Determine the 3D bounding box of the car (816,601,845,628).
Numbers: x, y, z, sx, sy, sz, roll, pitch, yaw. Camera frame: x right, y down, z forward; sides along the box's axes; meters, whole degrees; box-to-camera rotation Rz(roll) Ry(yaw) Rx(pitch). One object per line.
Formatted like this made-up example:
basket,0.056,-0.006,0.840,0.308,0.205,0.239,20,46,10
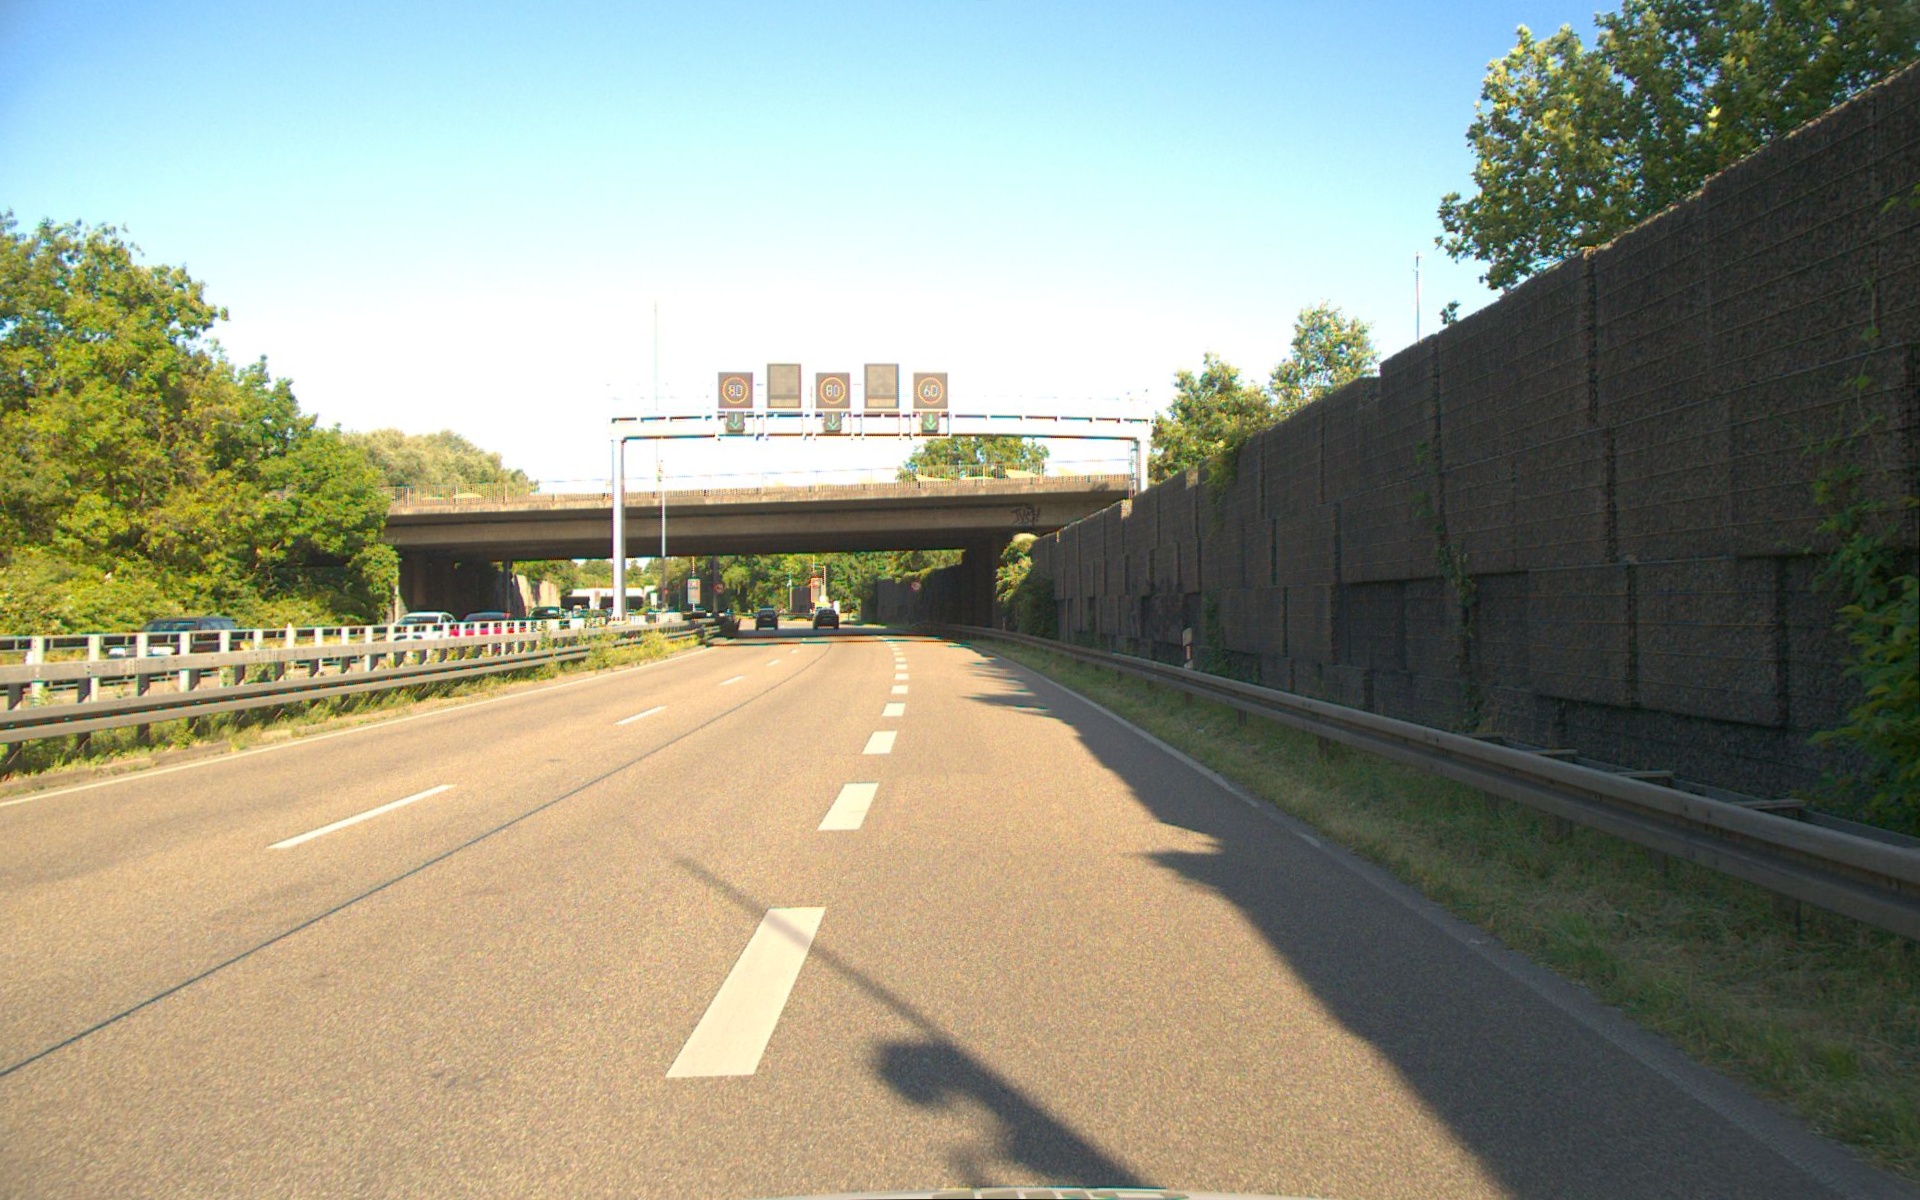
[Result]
car,-9.318,1.037,119.368,1.953,1.959,3.998,0,0,-2

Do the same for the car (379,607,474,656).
car,-19.176,1.104,59.704,1.953,1.669,4.720,0,0,-1

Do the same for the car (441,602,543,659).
car,-15.044,0.947,53.452,1.953,1.669,4.720,-3,0,-1

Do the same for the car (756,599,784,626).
car,-14.409,0.938,125.543,1.954,1.959,3.996,0,0,-5

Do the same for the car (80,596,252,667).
car,-19.812,0.750,41.559,1.953,1.669,5.026,0,0,-1
